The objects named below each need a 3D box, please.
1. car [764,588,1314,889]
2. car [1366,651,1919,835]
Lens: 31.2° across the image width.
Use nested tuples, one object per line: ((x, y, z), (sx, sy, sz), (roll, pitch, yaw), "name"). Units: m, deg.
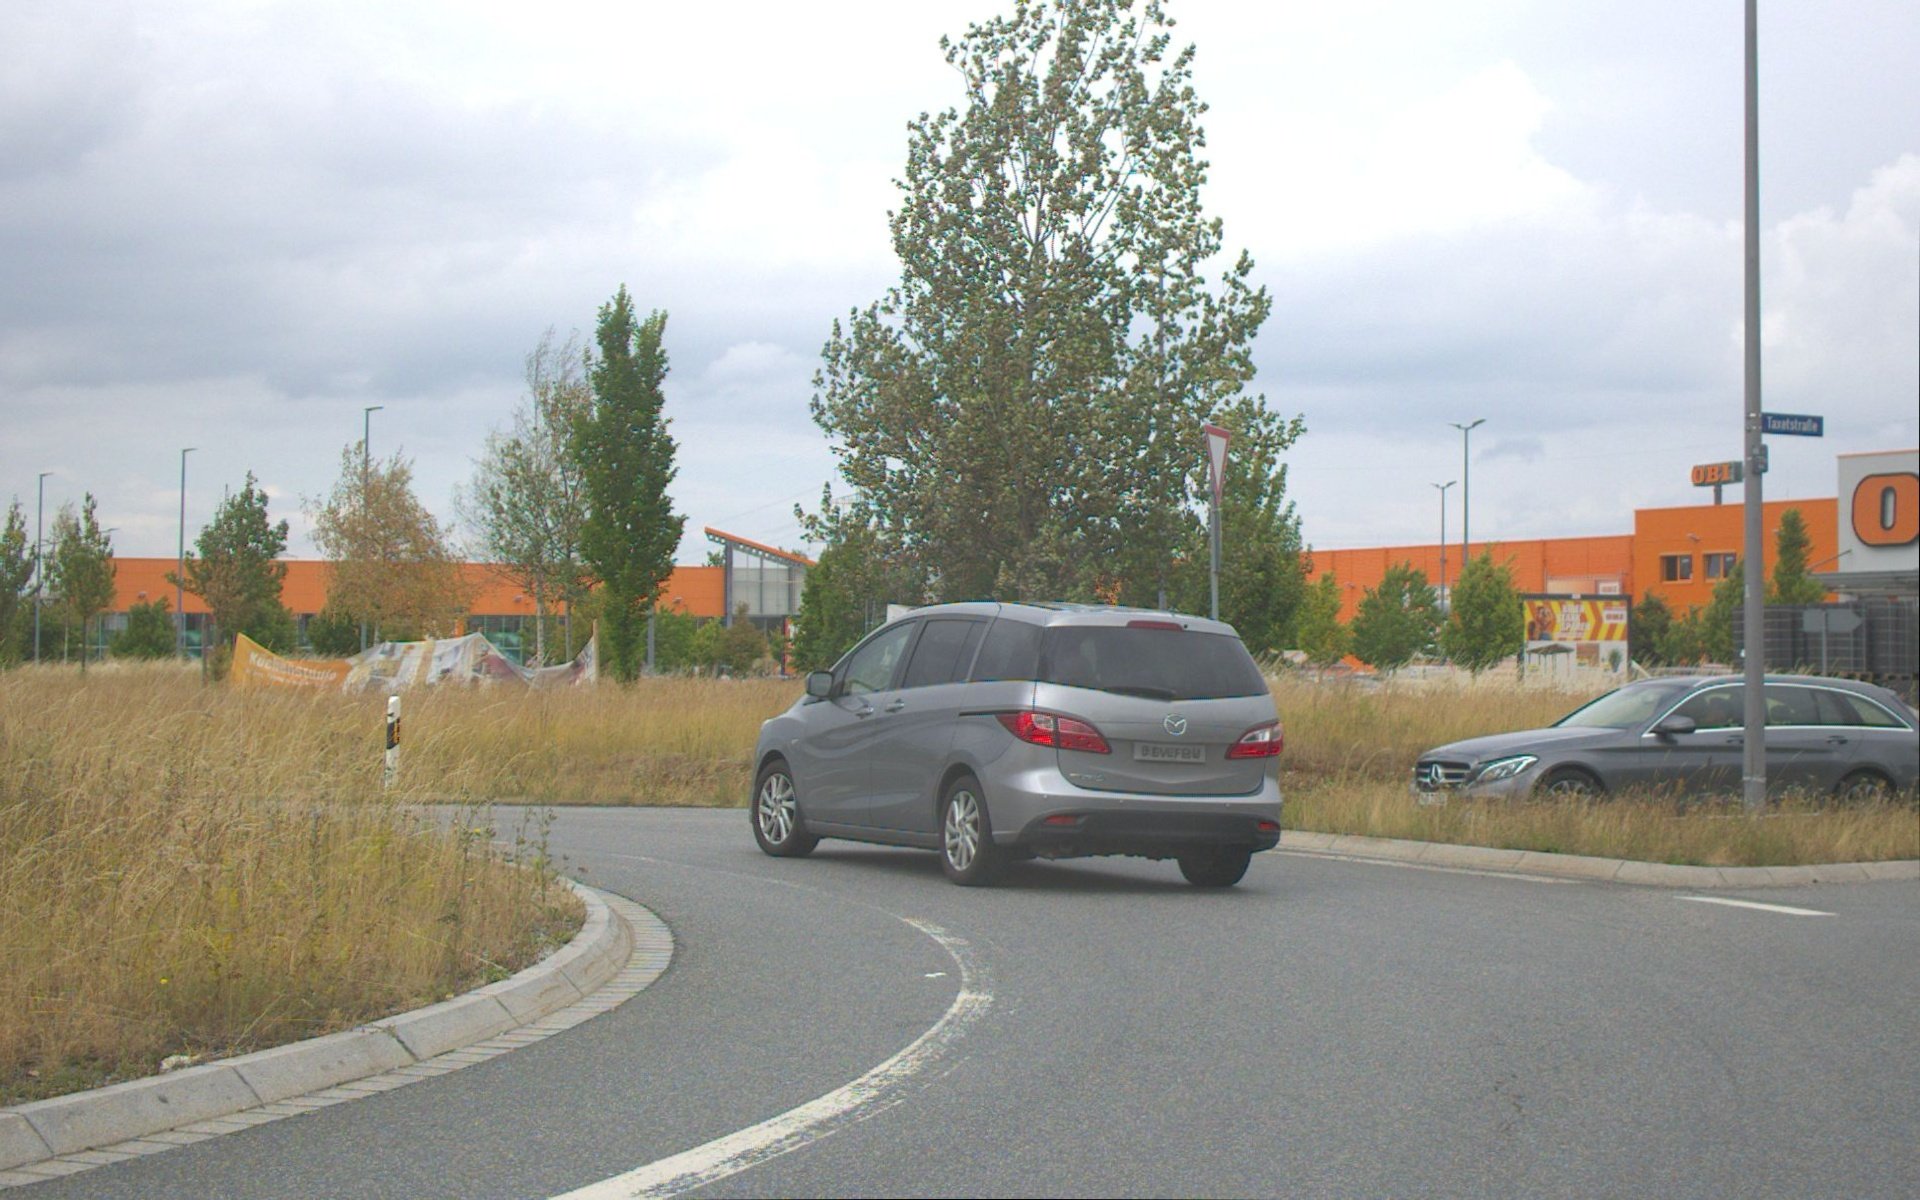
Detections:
((0.349, 0.783, 20.331), (1.737, 1.593, 3.998), (2, -2, -23), "car")
((5.968, 1.201, 28.886), (4.671, 1.399, 1.929), (2, -1, -19), "car")
